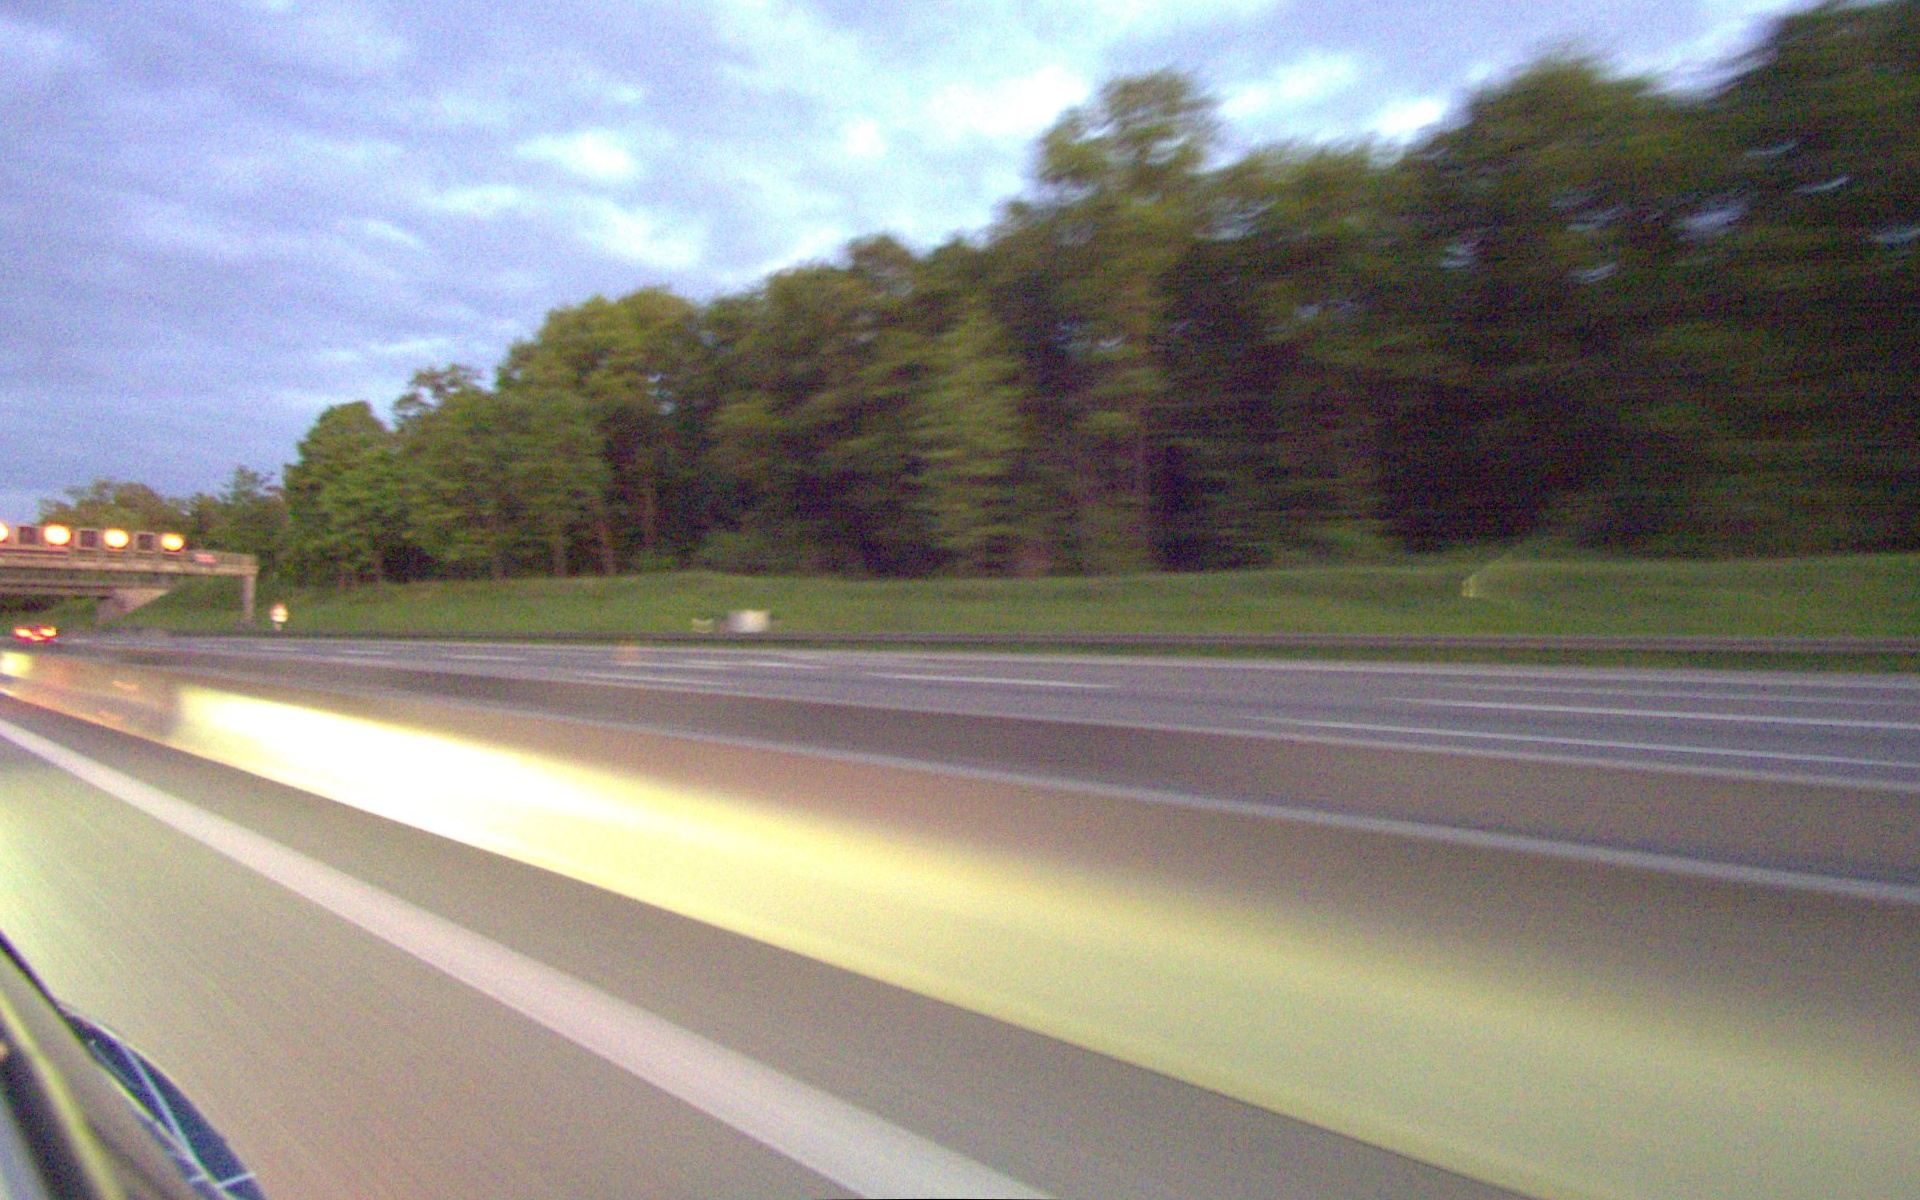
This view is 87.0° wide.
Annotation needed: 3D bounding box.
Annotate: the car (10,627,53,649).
[{"bbox_3d":[-63.173,2.565,68.854,4.311,1.416,1.602,-2,-2,40],"label":"car"}]
